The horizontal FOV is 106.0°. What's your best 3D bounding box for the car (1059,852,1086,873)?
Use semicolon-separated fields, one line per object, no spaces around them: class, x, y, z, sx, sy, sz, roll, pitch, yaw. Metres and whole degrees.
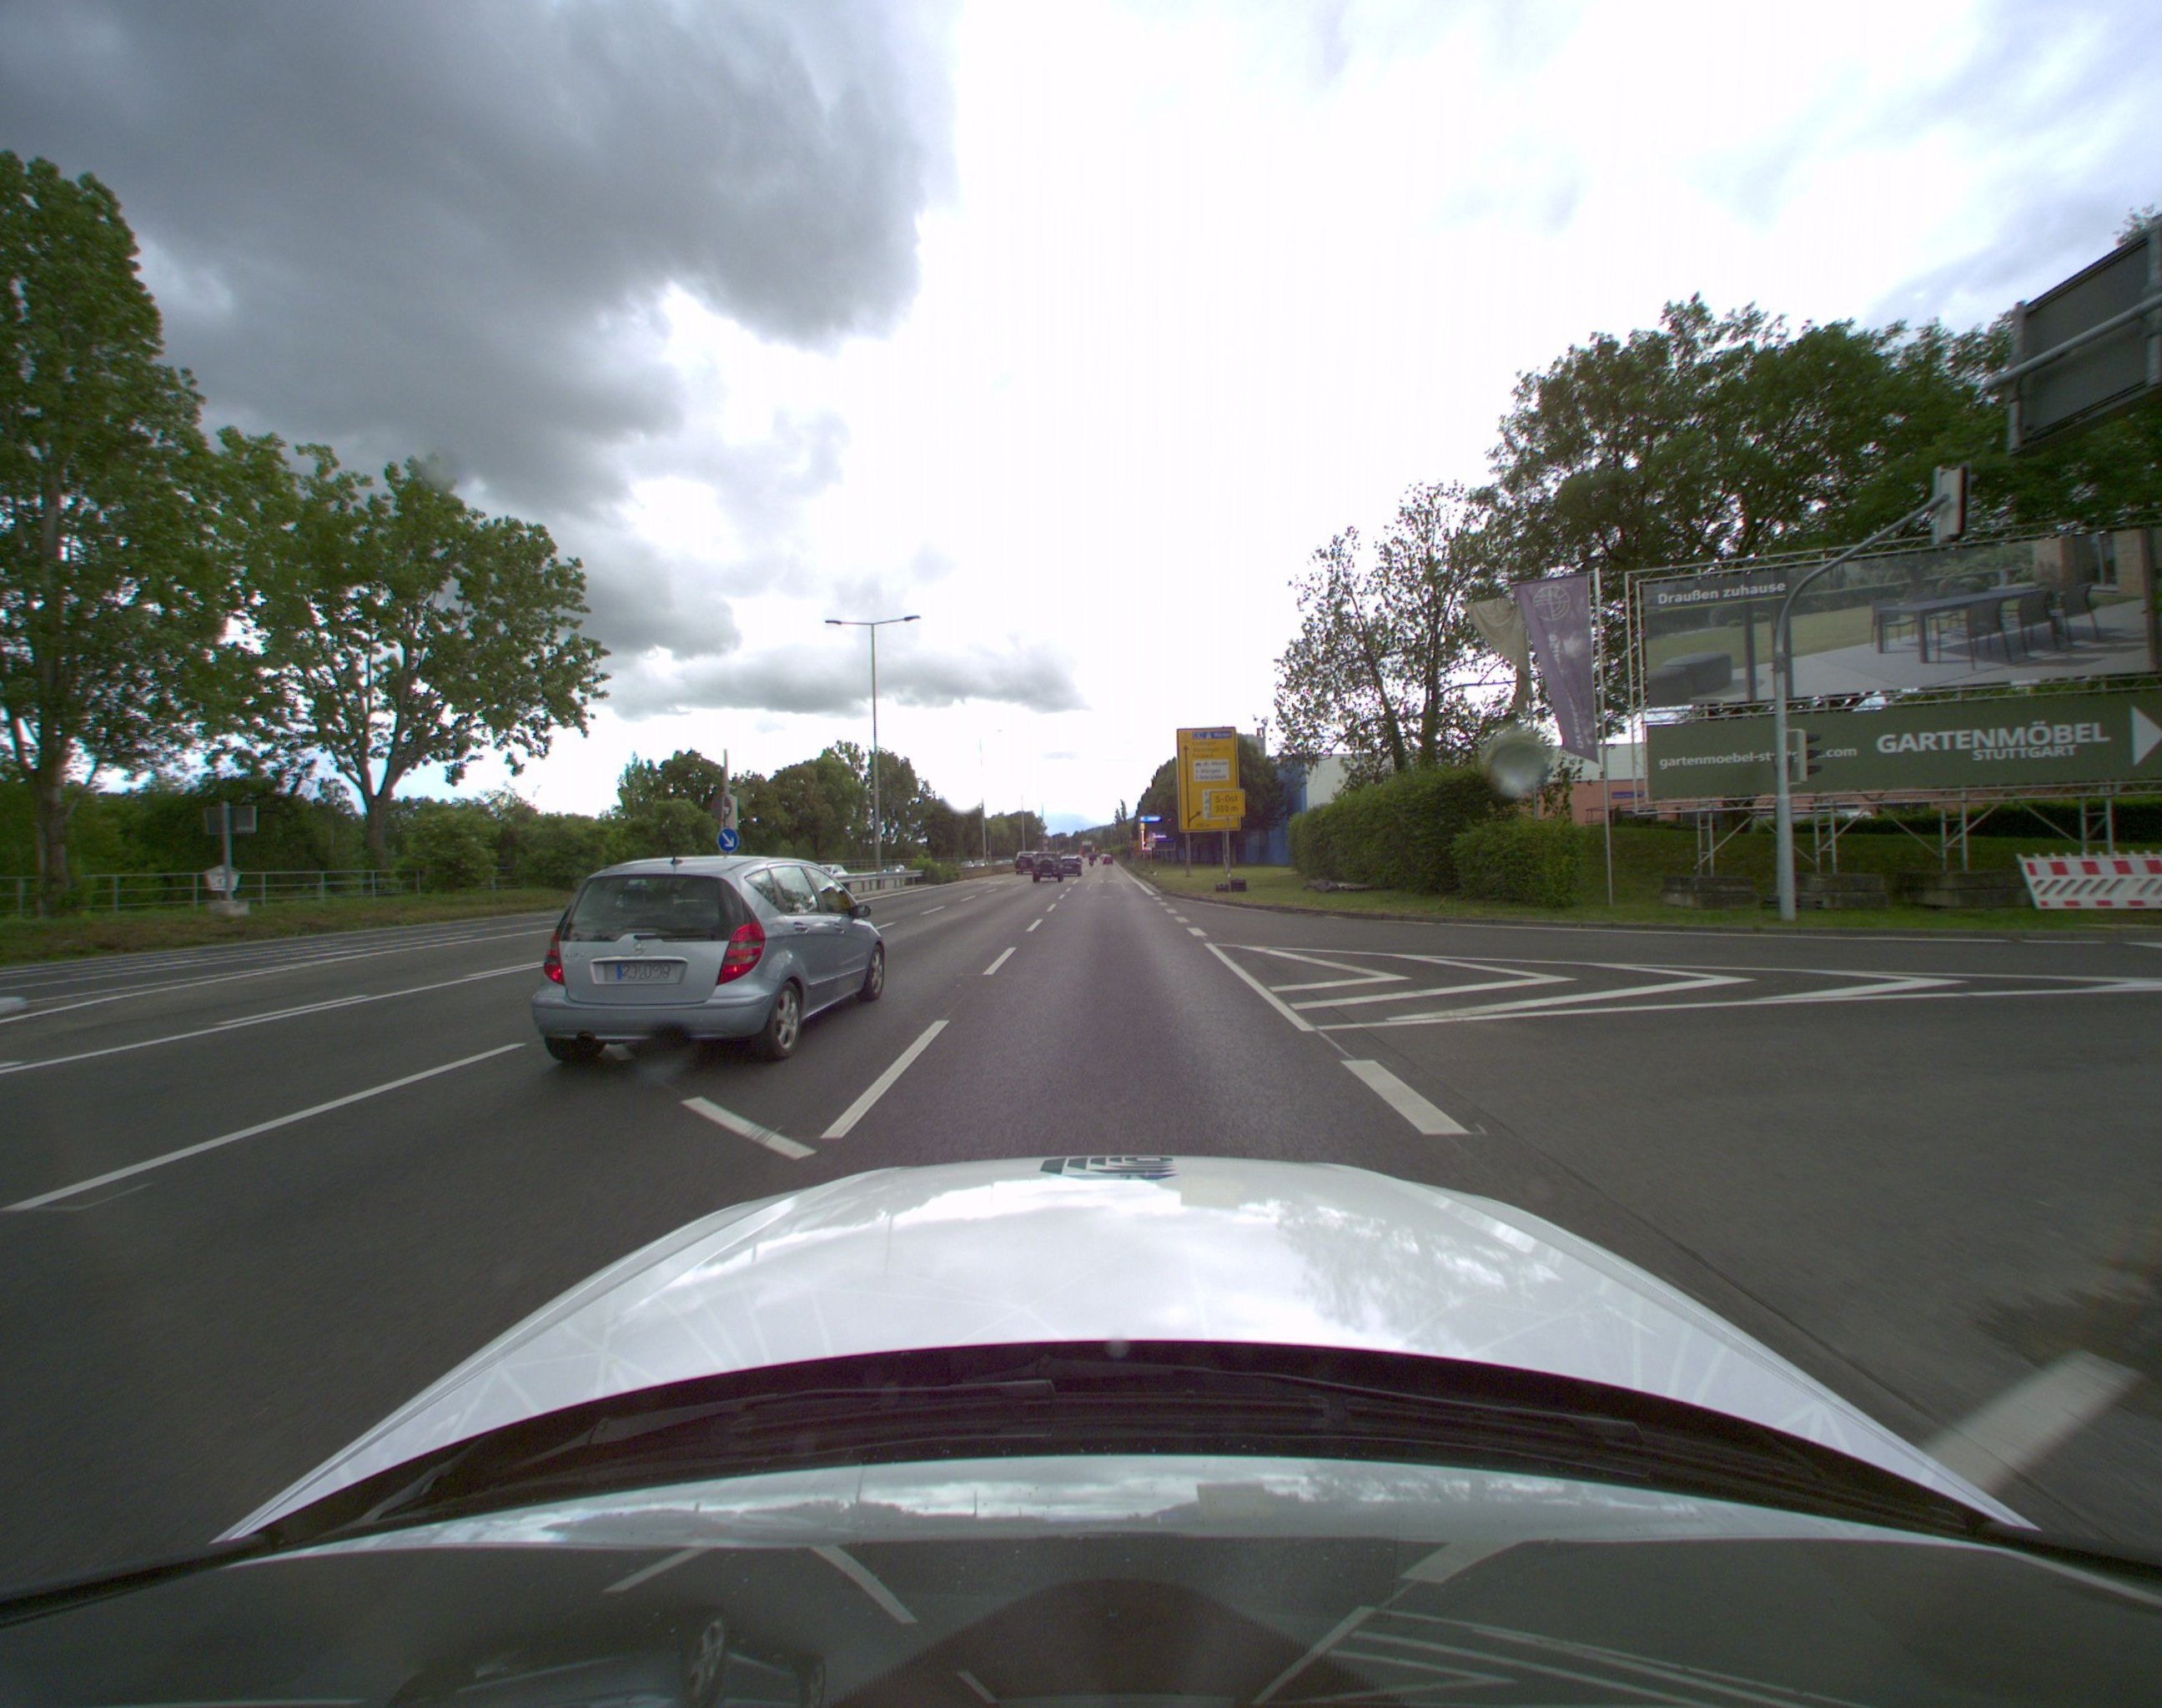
car;-0.610;0.597;60.346;1.833;1.464;4.001;0;1;1

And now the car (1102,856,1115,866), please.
car;4.645;1.144;138.002;1.987;1.552;4.000;0;1;0

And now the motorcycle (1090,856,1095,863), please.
motorcycle;1.632;0.774;114.670;0.703;1.040;2.028;0;1;3

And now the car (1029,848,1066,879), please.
car;-1.899;0.522;46.858;1.901;1.684;4.001;0;1;1

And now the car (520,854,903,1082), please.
car;-2.993;0.786;7.628;1.704;1.530;4.001;0;1;1

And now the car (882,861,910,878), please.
car;-19.543;1.653;86.064;1.986;1.640;4.002;0;1;1

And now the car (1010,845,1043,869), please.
car;-4.556;0.186;68.718;2.206;1.925;5.005;0;1;2

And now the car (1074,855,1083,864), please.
car;-0.645;1.299;195.692;1.986;2.013;4.002;0;1;2

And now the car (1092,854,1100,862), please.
car;3.758;1.034;206.596;1.986;2.013;4.002;0;1;2

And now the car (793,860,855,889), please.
car;-14.905;1.157;47.512;1.986;1.493;4.806;0;1;1

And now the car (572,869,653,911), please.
car;-18.002;1.340;31.405;1.467;1.463;2.738;0;1;1

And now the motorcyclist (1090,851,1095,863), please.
motorcyclist;1.640;0.399;114.828;0.682;1.610;0.846;0;0;3
